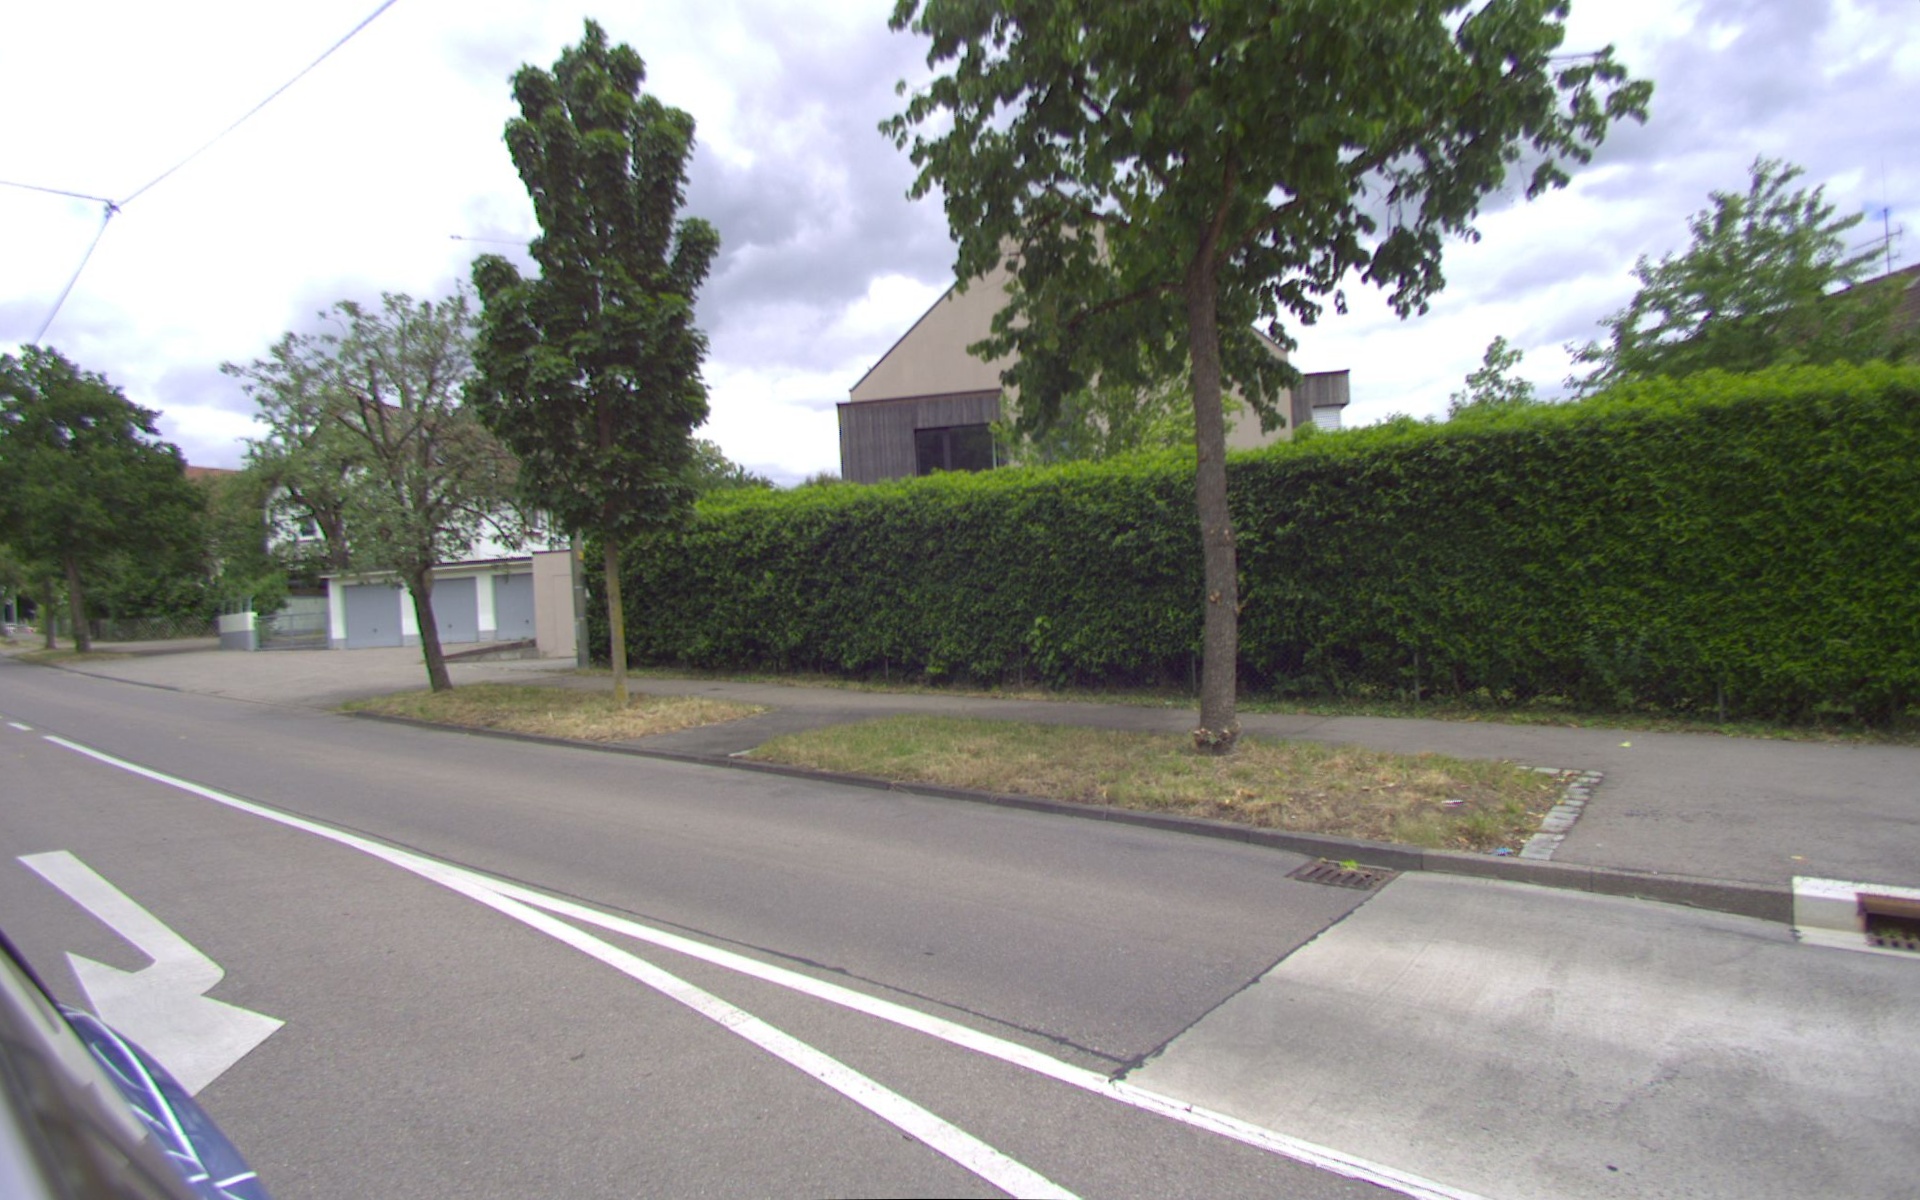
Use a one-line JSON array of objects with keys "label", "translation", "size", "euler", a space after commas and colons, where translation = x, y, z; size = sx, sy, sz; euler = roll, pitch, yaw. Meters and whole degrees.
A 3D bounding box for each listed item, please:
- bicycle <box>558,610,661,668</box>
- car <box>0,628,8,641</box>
[{"label": "bicycle", "translation": [-8.189, 0.896, 23.835], "size": [0.841, 1.214, 2.606], "euler": [-3, 0, 18]}, {"label": "car", "translation": [-111.969, 4.002, 116.028], "size": [1.778, 1.420, 3.993], "euler": [-2, 0, 6]}]
